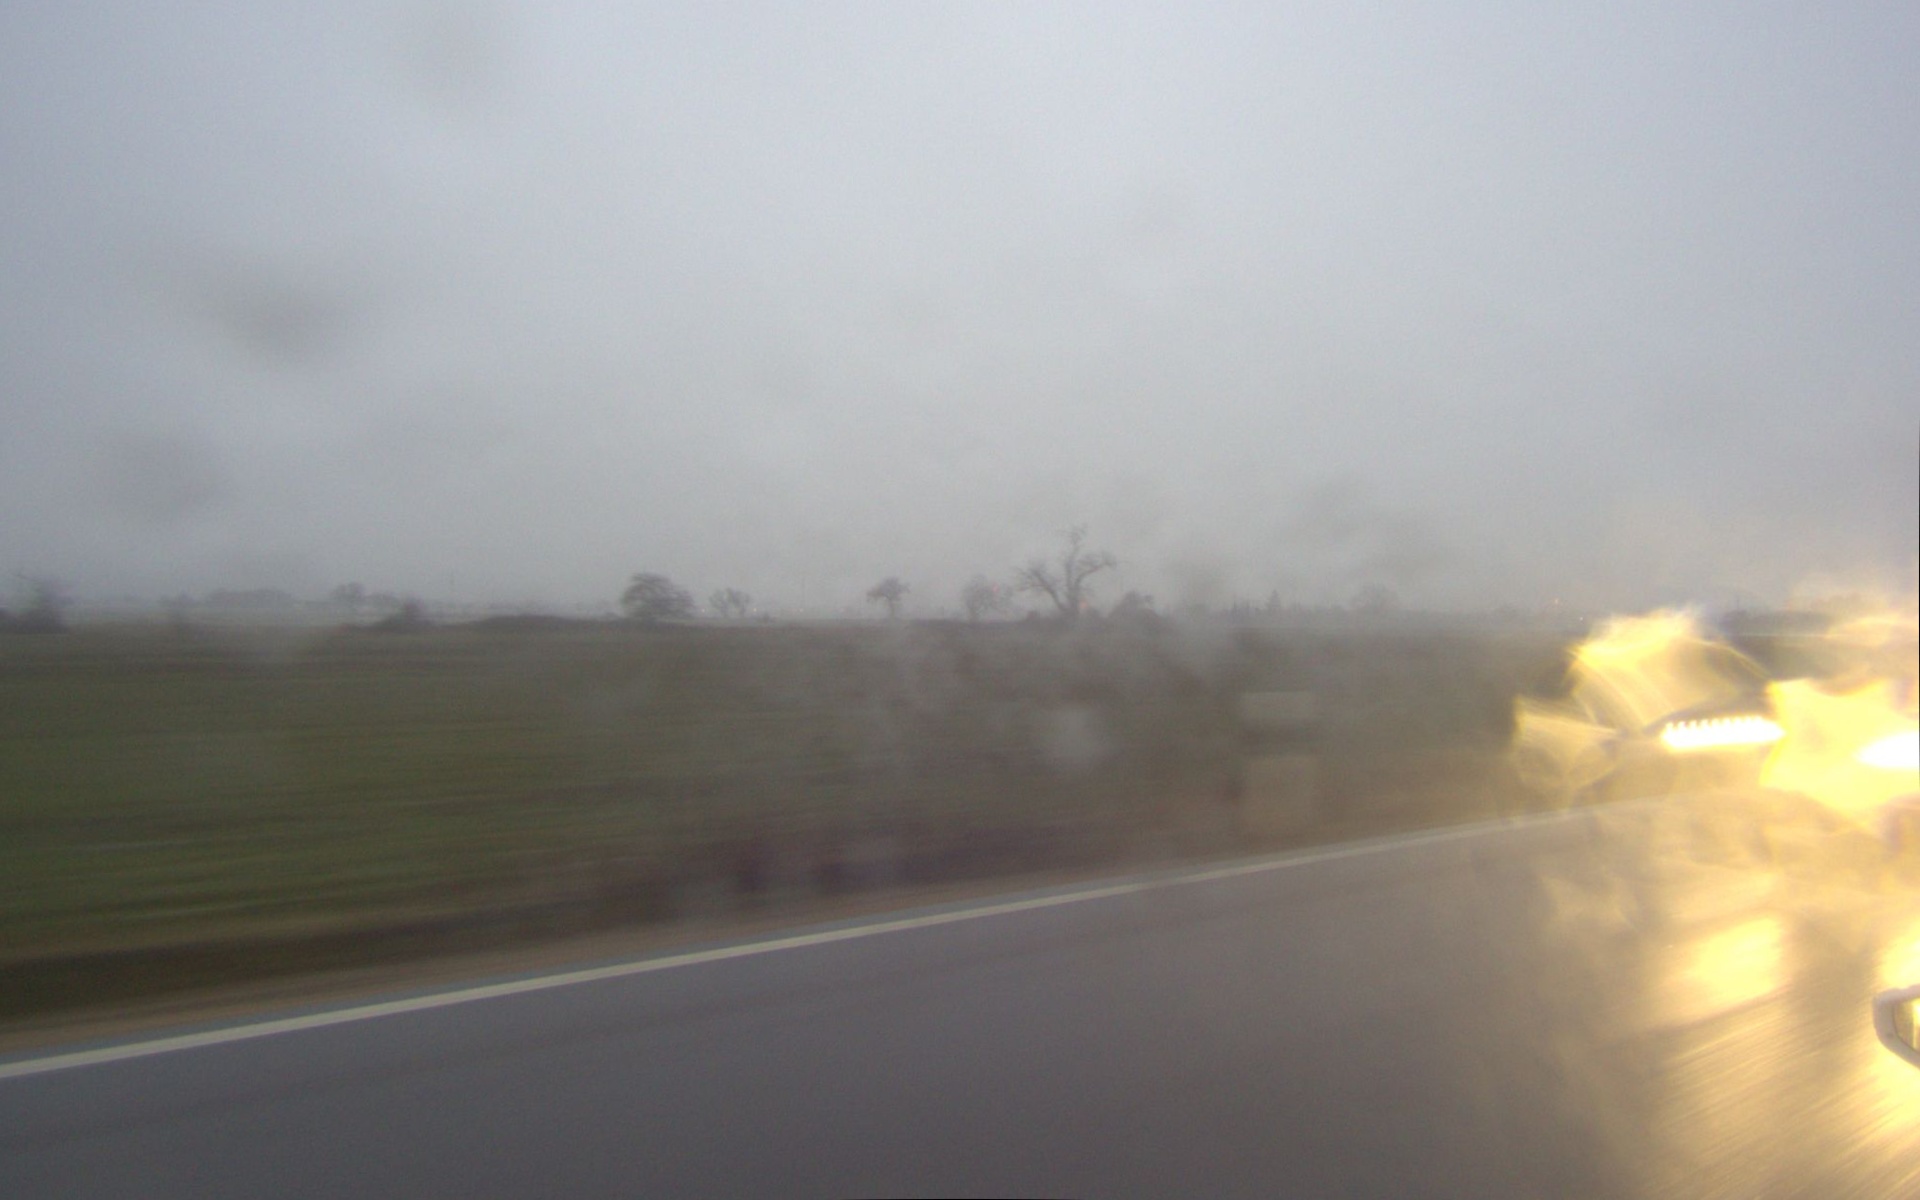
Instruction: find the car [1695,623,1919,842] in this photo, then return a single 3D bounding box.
[{"bbox_3d":[7.792,0.979,8.210,3.471,1.491,1.619,2,-3,-30],"label":"car"}]
